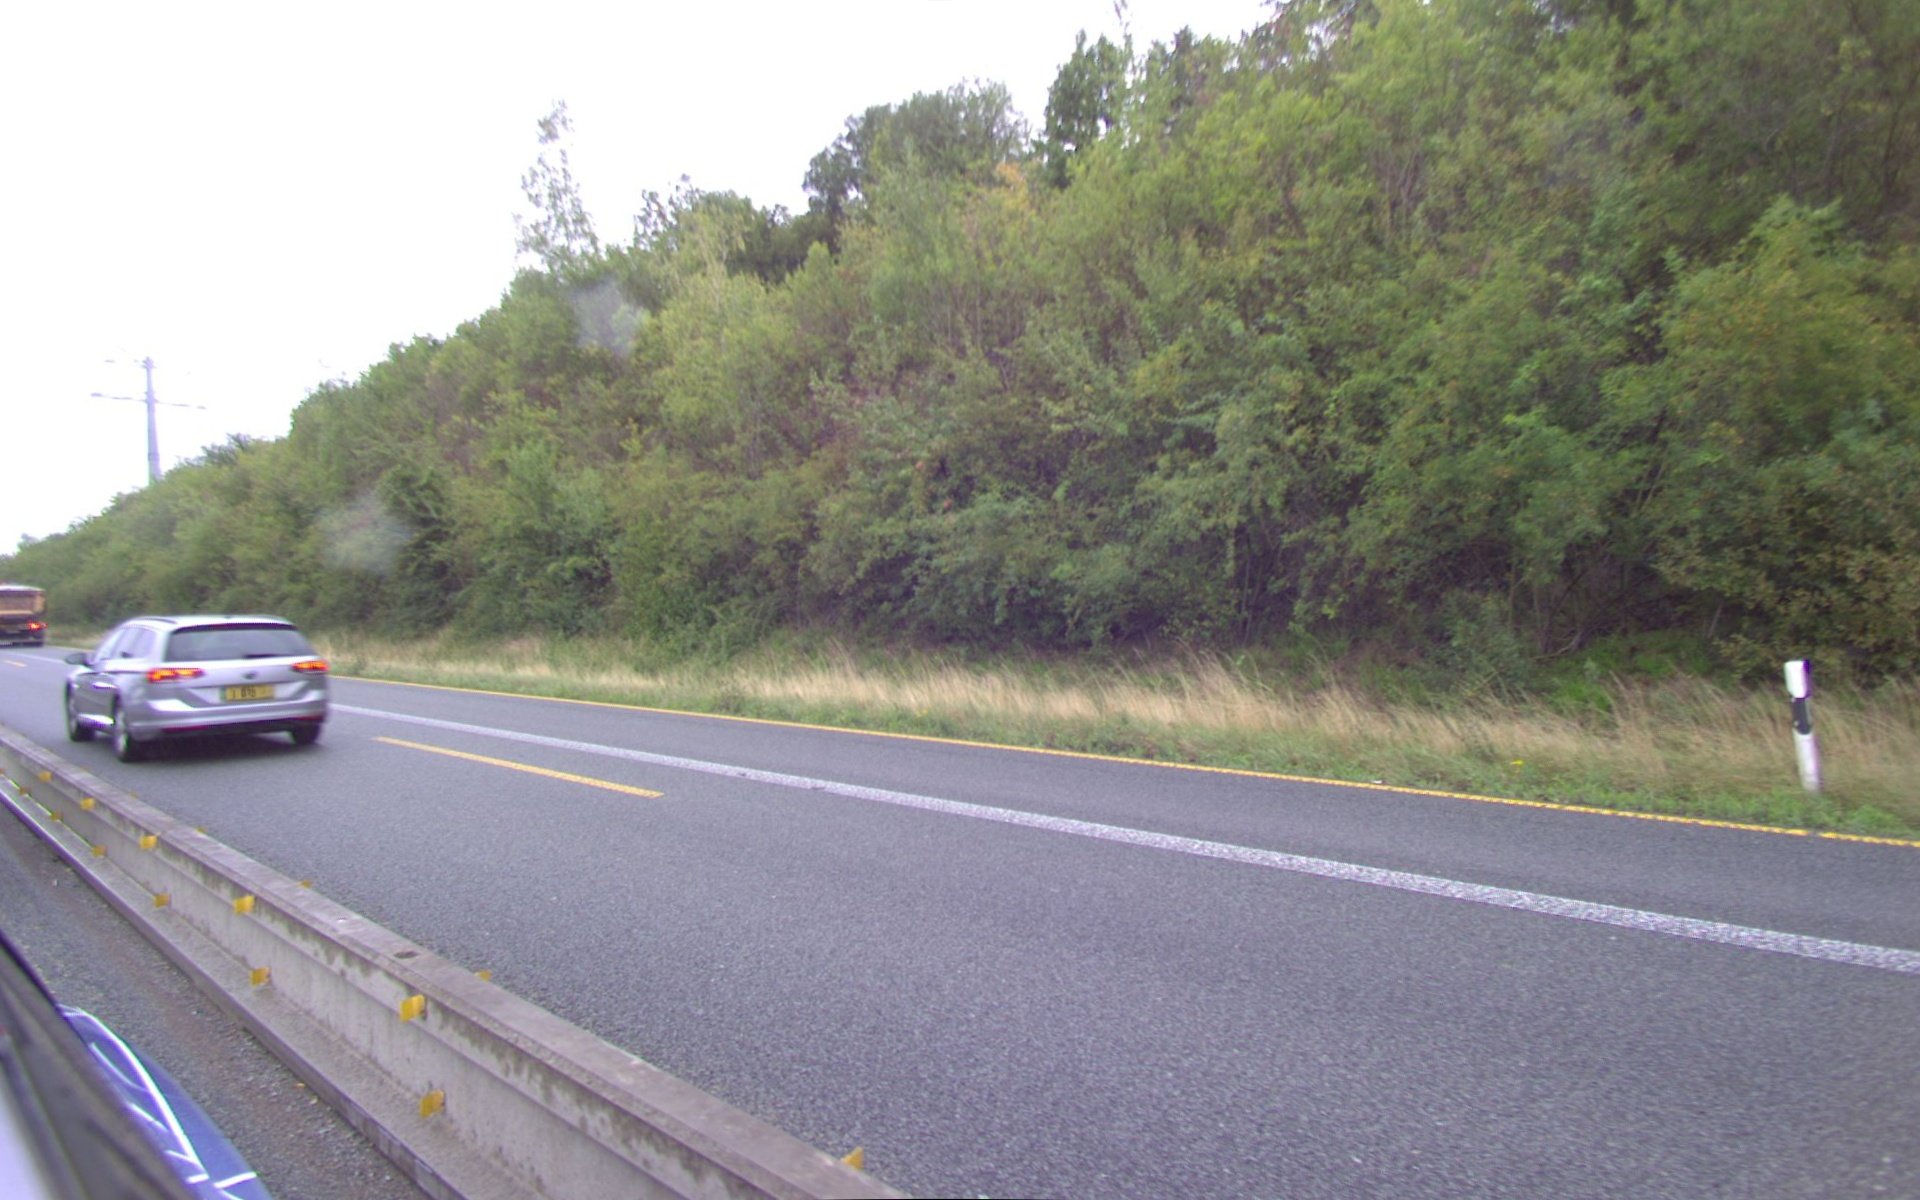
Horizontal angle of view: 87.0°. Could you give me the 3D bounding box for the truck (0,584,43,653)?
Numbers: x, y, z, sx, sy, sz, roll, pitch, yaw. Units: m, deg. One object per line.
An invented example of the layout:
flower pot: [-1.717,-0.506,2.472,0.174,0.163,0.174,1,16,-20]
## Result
truck: [-50.845,0.945,53.276,12.045,3.378,2.508,-1,0,42]

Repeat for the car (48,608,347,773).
car: [-8.696,0.856,11.395,4.393,1.499,1.792,-1,0,40]
